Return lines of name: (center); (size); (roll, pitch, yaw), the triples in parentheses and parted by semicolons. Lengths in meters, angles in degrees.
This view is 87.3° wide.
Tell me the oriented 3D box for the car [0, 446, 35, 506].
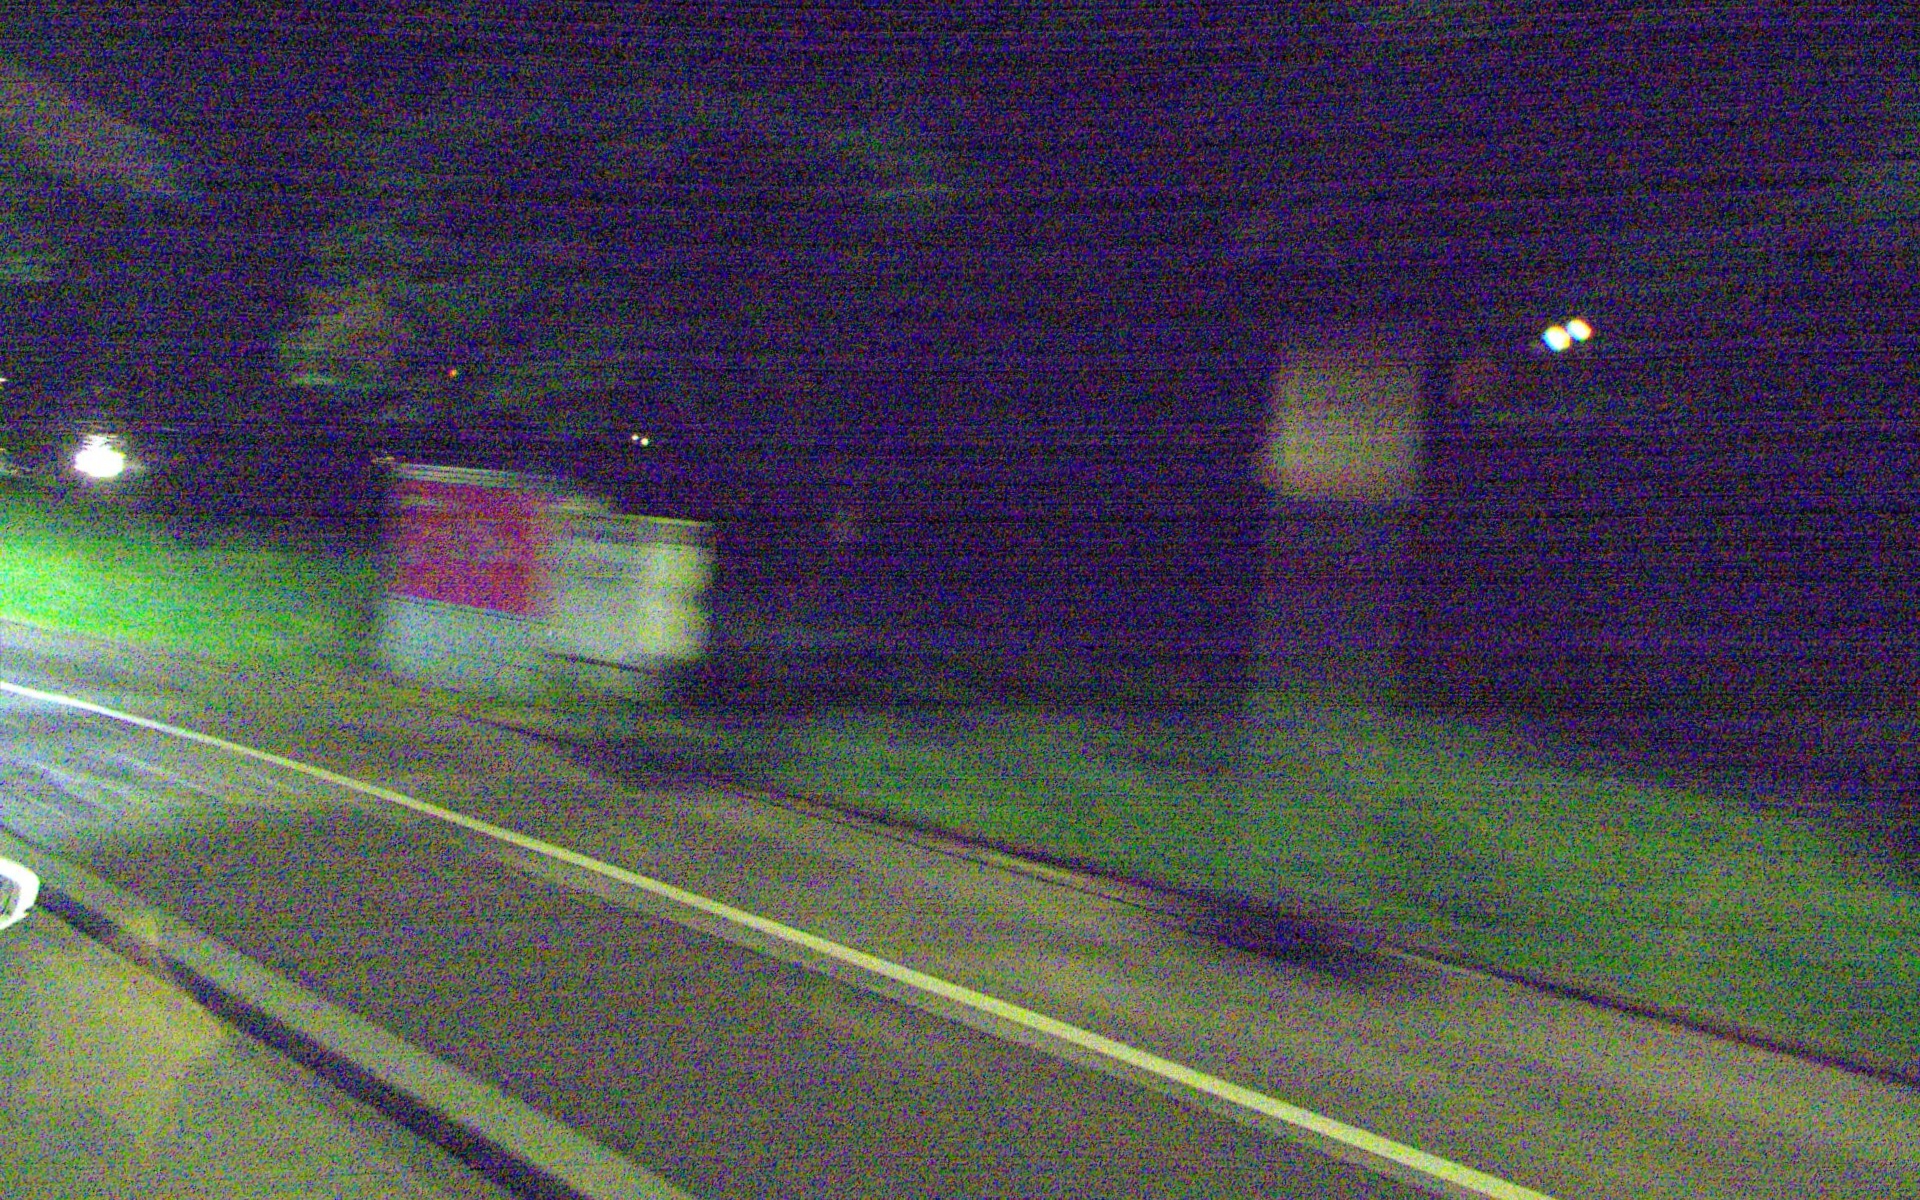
car: (-33.557, -4.349, 33.849); (4.038, 1.863, 1.955); (7, 3, 21)
